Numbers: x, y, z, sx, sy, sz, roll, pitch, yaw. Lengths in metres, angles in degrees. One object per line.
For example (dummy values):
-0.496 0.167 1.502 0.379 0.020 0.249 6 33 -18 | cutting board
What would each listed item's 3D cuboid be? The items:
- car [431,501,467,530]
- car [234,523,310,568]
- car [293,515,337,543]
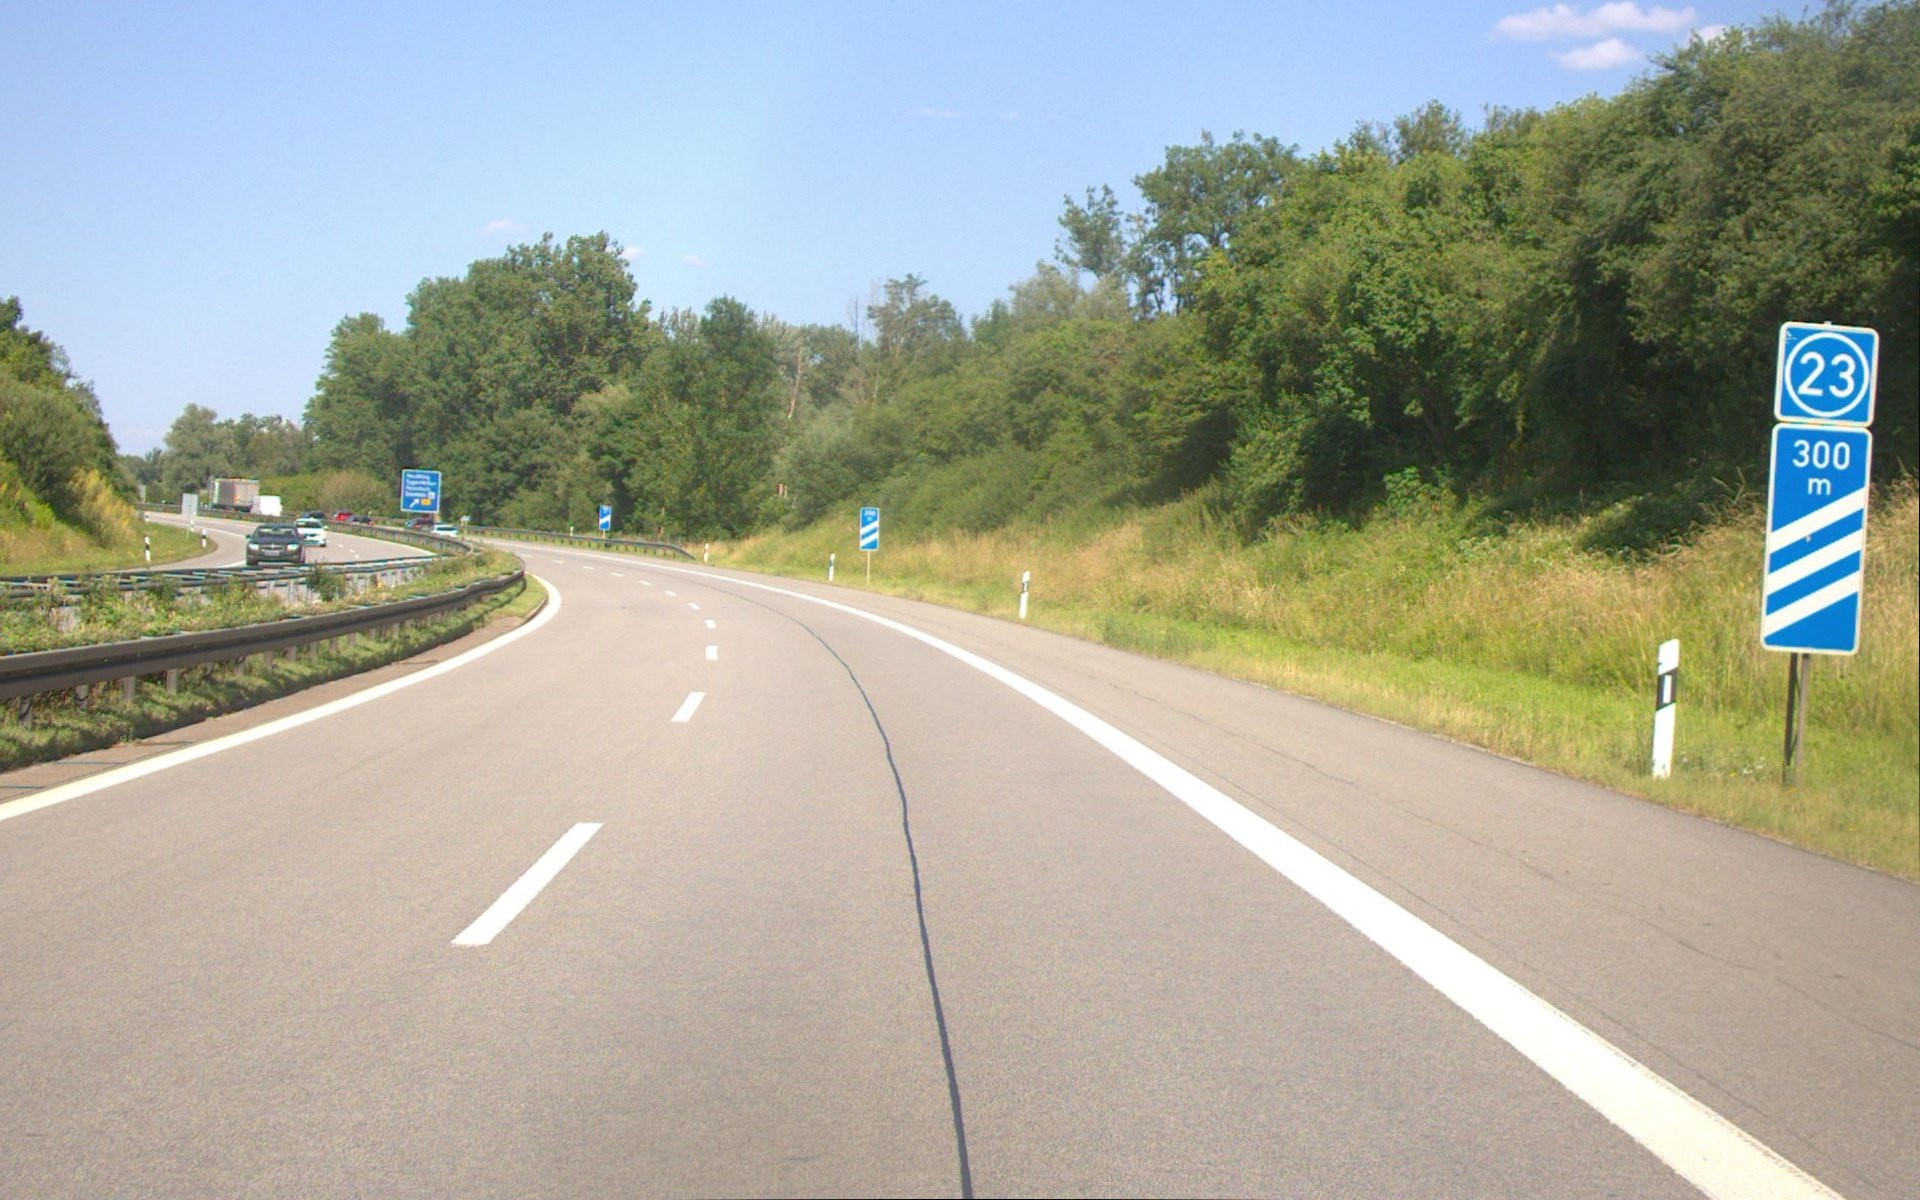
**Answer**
-32.479 -5.358 218.478 2.061 1.619 4.001 1 -1 -11 | car
-24.003 -1.900 120.028 1.967 1.559 5.174 0 1 -4 | car
-33.278 -3.659 177.413 1.899 1.417 4.399 0 2 -6 | car
